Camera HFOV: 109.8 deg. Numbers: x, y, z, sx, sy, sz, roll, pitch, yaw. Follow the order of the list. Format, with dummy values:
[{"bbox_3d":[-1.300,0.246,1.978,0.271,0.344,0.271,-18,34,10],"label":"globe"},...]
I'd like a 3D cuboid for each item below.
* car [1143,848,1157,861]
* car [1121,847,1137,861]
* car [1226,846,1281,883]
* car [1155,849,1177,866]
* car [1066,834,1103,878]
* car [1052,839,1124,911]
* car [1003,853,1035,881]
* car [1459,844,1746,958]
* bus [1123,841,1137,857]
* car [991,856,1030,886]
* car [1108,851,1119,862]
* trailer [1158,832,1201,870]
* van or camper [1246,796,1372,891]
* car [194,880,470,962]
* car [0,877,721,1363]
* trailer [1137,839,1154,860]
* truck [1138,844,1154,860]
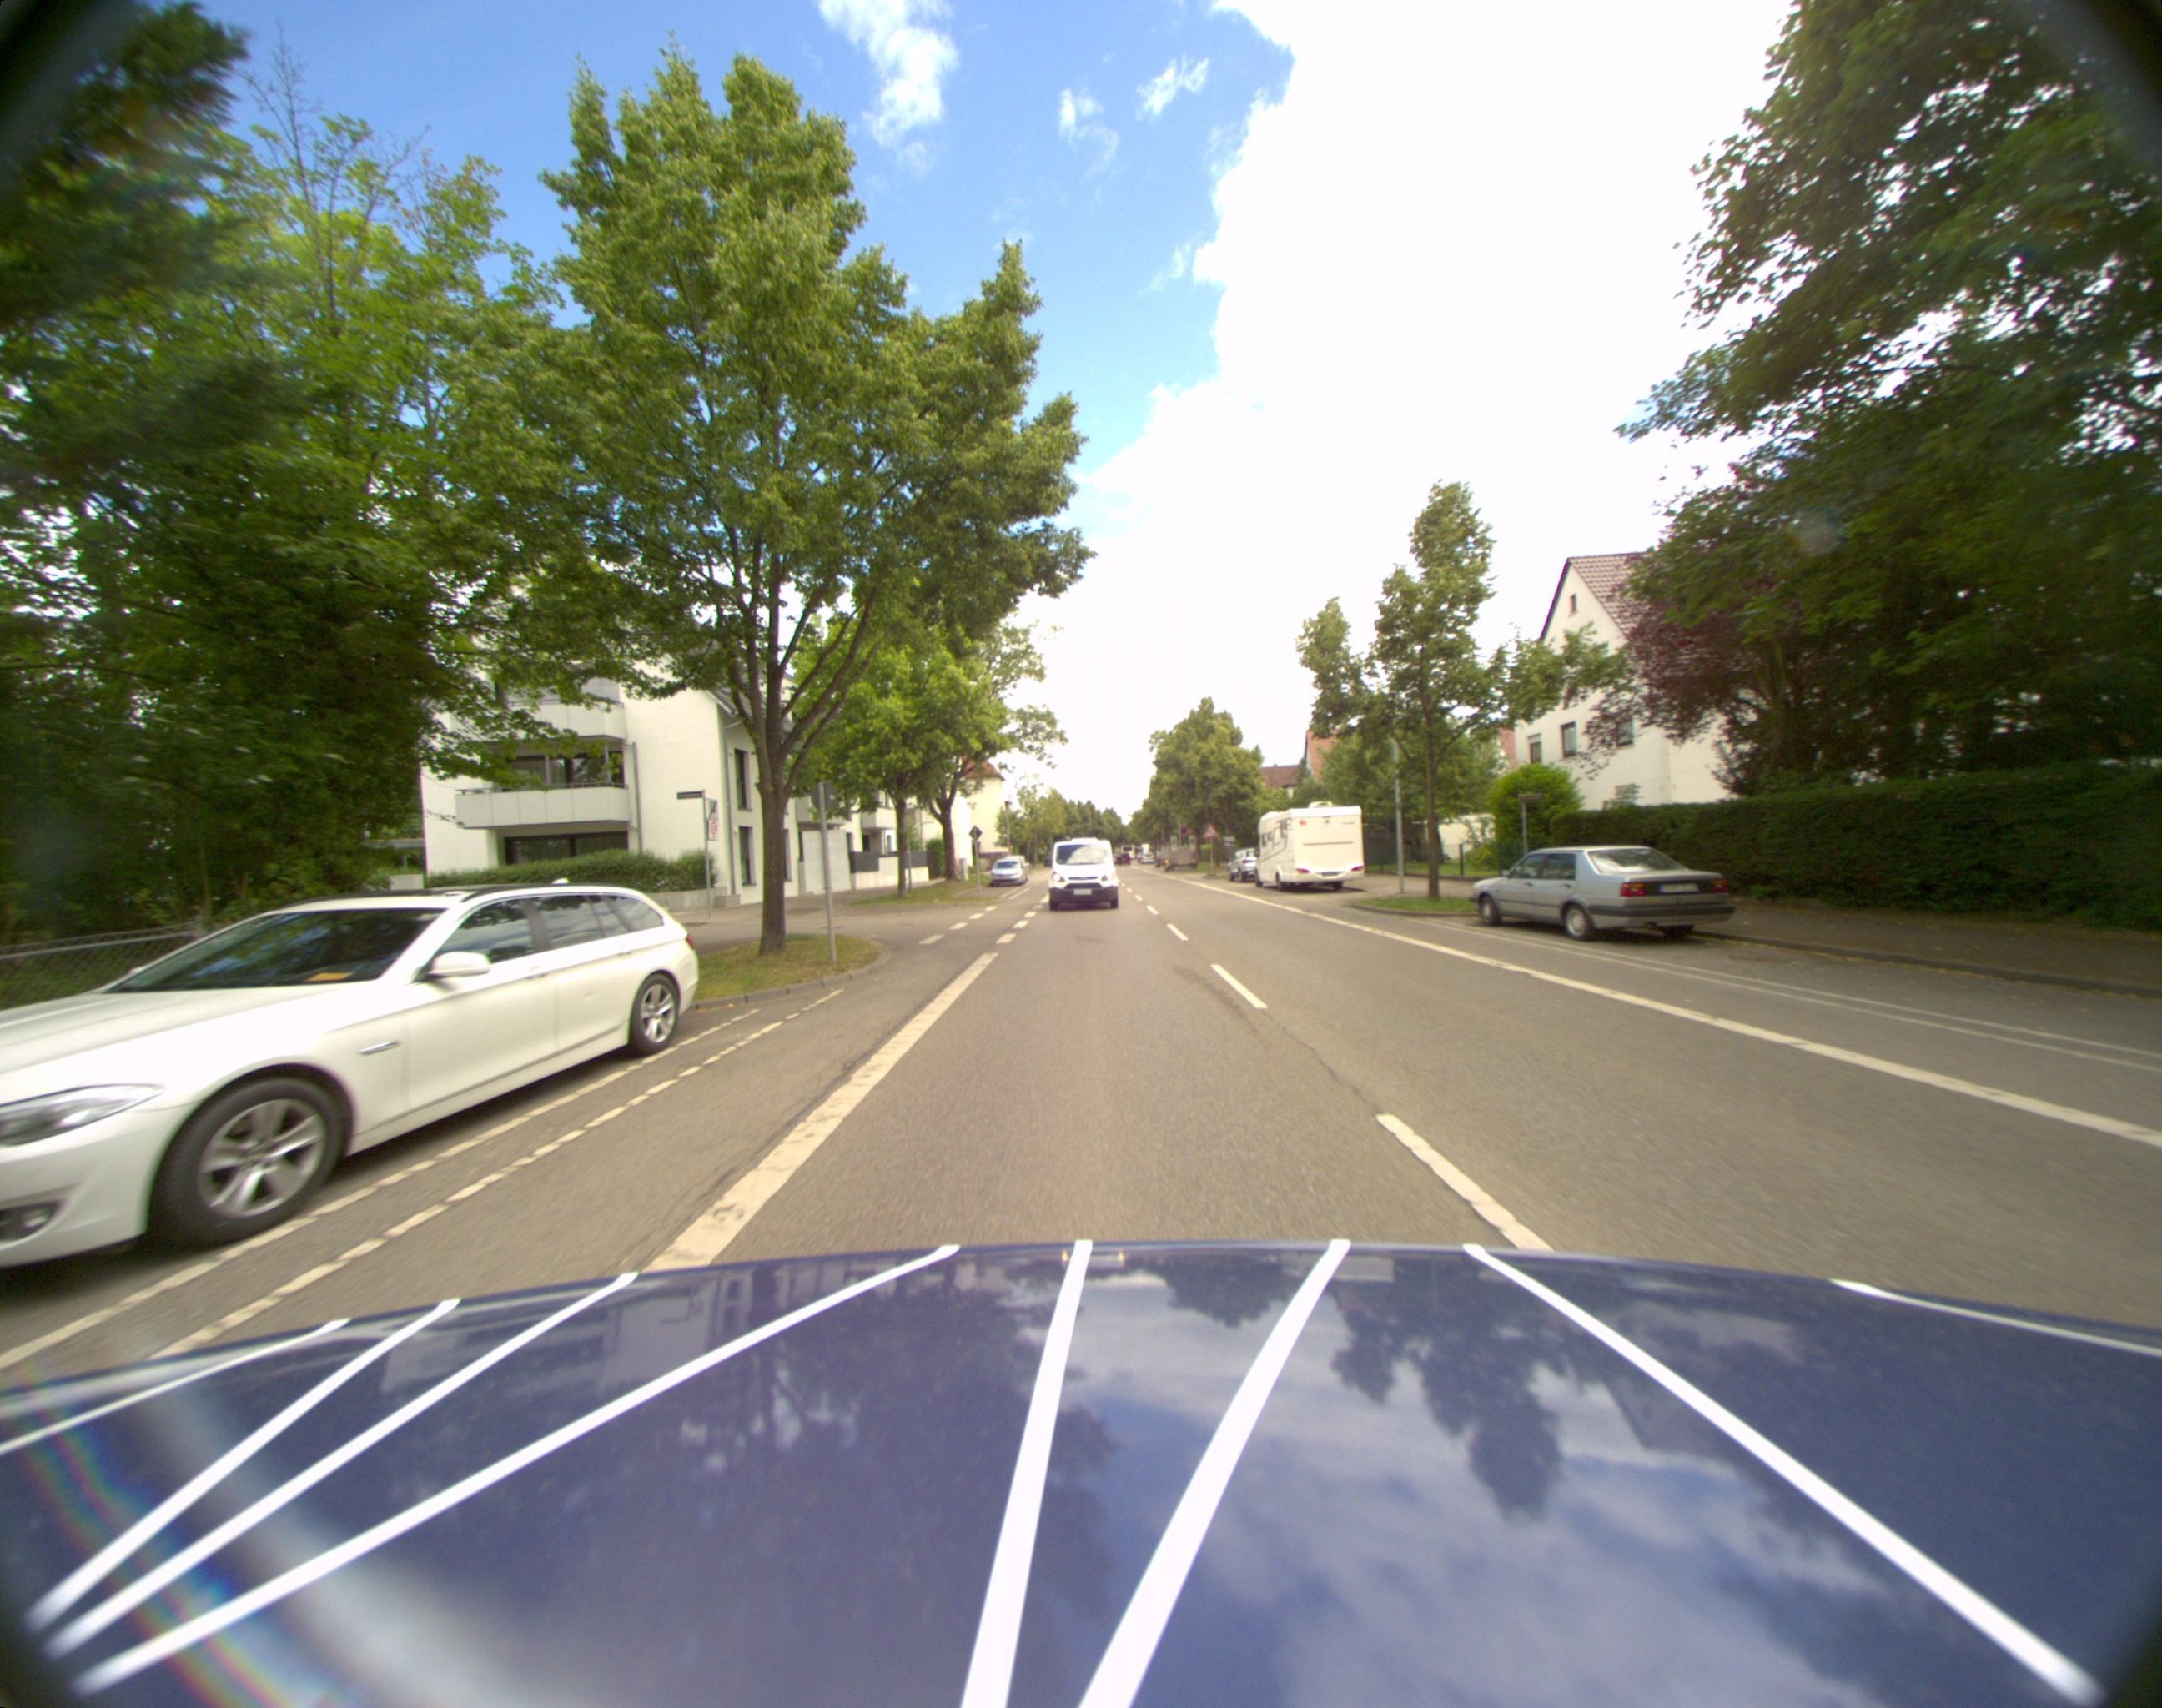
[{"bbox_3d":[9.741,0.049,106.991,1.693,1.674,4.225,-3,1,2],"label":"car"},{"bbox_3d":[6.392,-0.002,101.160,1.764,1.792,4.768,-2,0,1],"label":"car"},{"bbox_3d":[8.297,0.472,36.923,1.727,1.591,4.272,-2,0,1],"label":"car"},{"bbox_3d":[8.963,0.352,80.643,1.865,1.544,4.618,-3,2,1],"label":"car"},{"bbox_3d":[0.273,0.127,48.296,1.998,2.584,4.001,-3,0,3],"label":"car"},{"bbox_3d":[0.110,0.598,24.805,1.999,2.002,5.317,-2,0,-2],"label":"car"},{"bbox_3d":[-3.929,0.819,48.878,1.636,1.656,3.648,-2,0,1],"label":"car"},{"bbox_3d":[8.122,0.624,12.433,1.559,1.461,4.451,-2,0,-1],"label":"car"},{"bbox_3d":[11.052,-1.183,171.652,2.811,3.269,18.046,1,1,4],"label":"bus"},{"bbox_3d":[-3.861,0.923,42.375,1.691,1.484,4.227,-2,0,0],"label":"car"},{"bbox_3d":[6.508,0.440,151.985,1.997,2.002,4.002,-2,0,6],"label":"car"},{"bbox_3d":[8.450,-0.299,66.032,2.680,2.924,7.474,-3,1,0],"label":"trailer"},{"bbox_3d":[8.219,-0.358,28.466,2.441,2.992,7.692,-2,0,1],"label":"van or camper"},{"bbox_3d":[-15.933,1.390,16.344,3.998,1.451,1.793,-2,0,-3],"label":"car"},{"bbox_3d":[-4.560,0.999,4.788,2.026,1.435,5.025,-3,0,1],"label":"car"},{"bbox_3d":[9.682,-0.653,113.796,2.377,2.946,7.013,-2,0,6],"label":"trailer"},{"bbox_3d":[10.304,-0.354,120.503,2.300,2.274,6.465,-2,0,6],"label":"truck"}]
